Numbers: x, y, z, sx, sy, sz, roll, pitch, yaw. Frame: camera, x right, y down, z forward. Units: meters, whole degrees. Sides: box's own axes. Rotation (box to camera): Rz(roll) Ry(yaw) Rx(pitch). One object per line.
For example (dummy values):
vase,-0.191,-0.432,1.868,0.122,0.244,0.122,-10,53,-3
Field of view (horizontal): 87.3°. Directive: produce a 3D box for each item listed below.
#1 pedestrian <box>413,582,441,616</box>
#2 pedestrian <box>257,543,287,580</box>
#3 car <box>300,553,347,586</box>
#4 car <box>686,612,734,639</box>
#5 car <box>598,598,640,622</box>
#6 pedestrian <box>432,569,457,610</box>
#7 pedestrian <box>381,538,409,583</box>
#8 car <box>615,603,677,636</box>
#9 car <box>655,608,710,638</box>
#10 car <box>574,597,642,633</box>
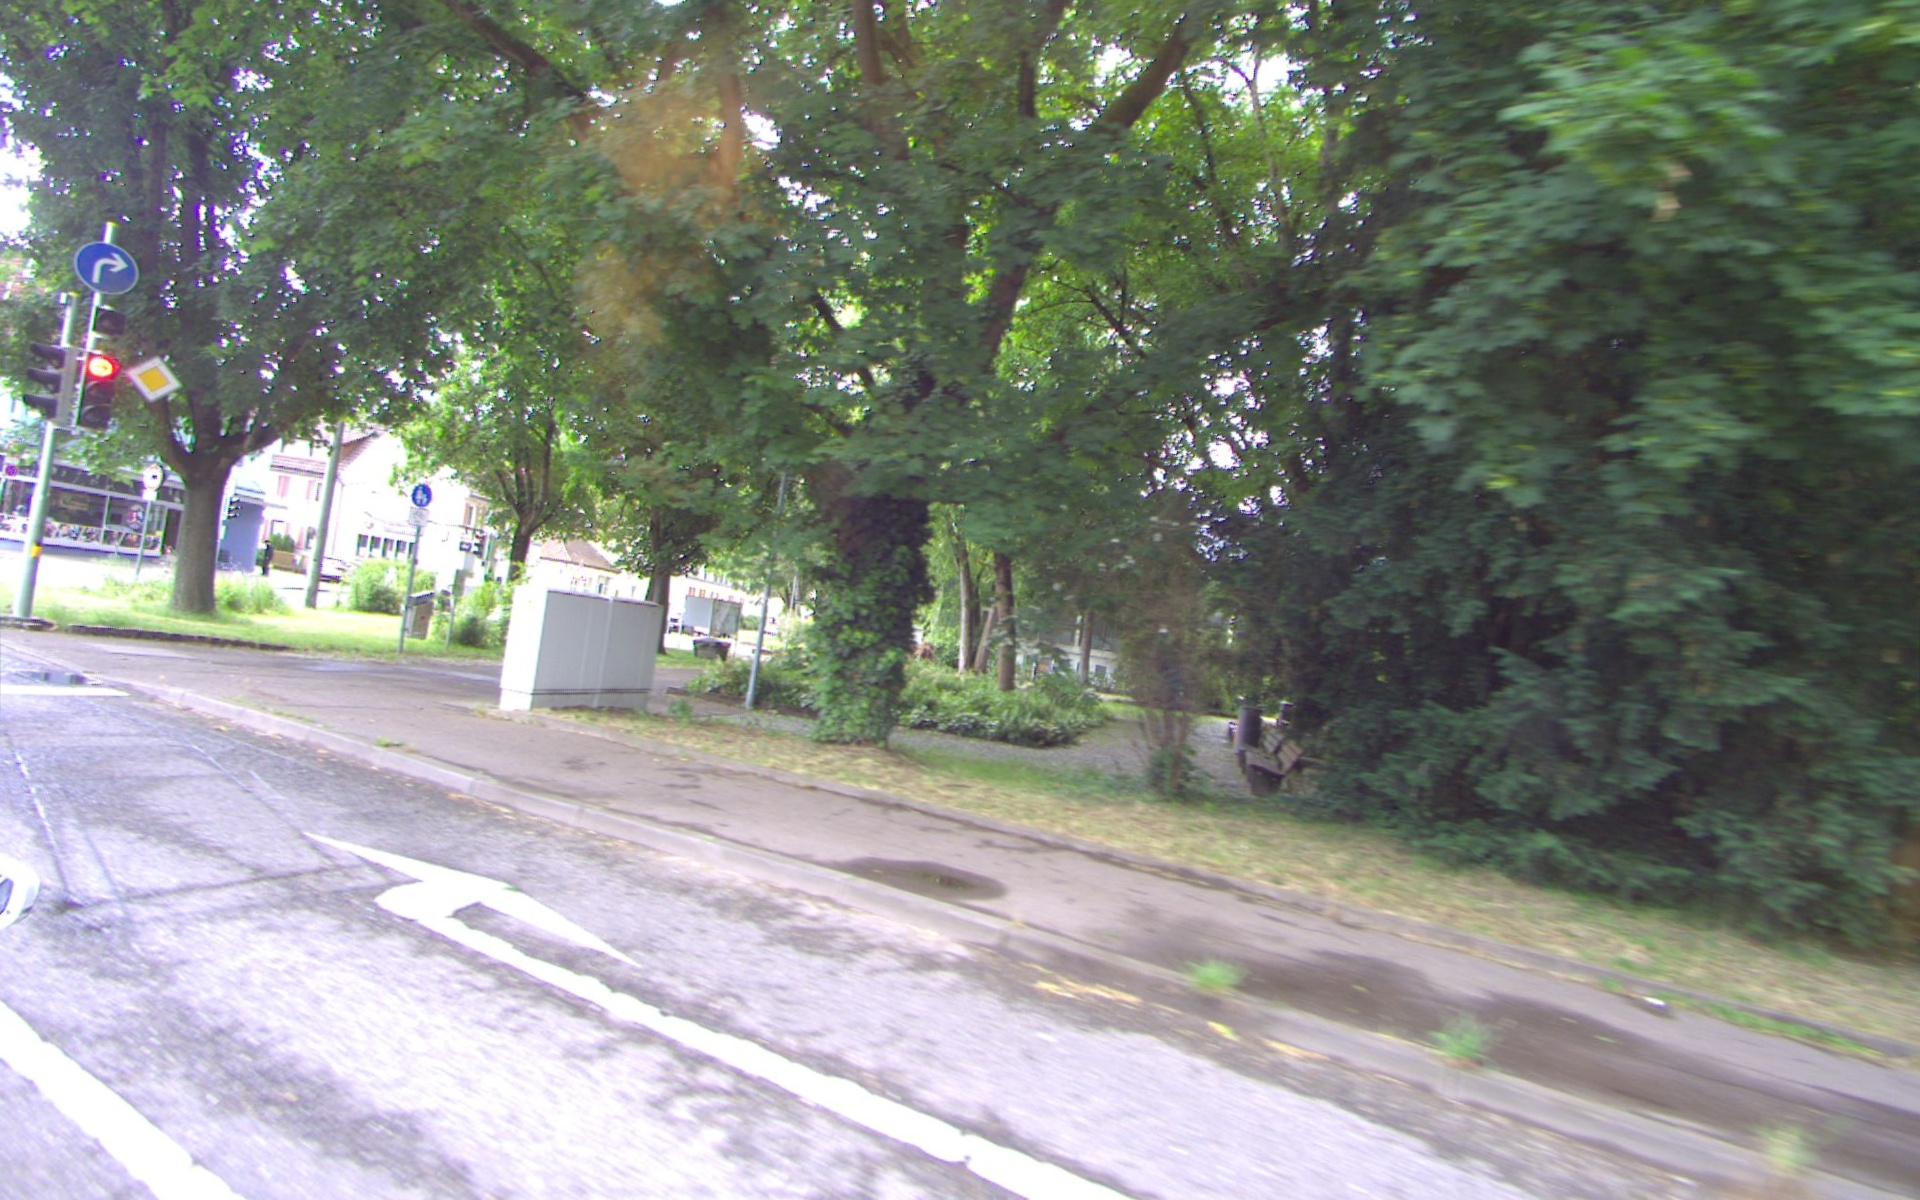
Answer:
pedestrian,-18.143,-0.035,34.233,0.506,1.093,0.507,7,-1,15
pedestrian,-31.941,-1.802,46.735,0.732,1.578,0.673,7,-1,15
car,-34.081,-1.650,53.943,1.872,1.406,3.586,9,-2,-31
car,-16.765,1.720,67.628,1.618,1.474,3.740,7,-2,11
car,-25.884,0.790,76.564,1.737,1.463,3.864,7,-2,0
pedestrian,-20.740,-0.424,40.462,0.689,1.578,0.662,8,-1,-30
pedestrian,-21.372,-1.479,38.060,0.726,1.578,0.763,8,-1,-30
car,-17.572,1.142,56.476,1.618,1.474,3.740,7,-2,11
car,-16.925,1.439,61.484,1.618,1.474,3.740,7,-2,11
car,-18.058,0.793,51.716,1.618,1.474,3.478,7,-2,11
